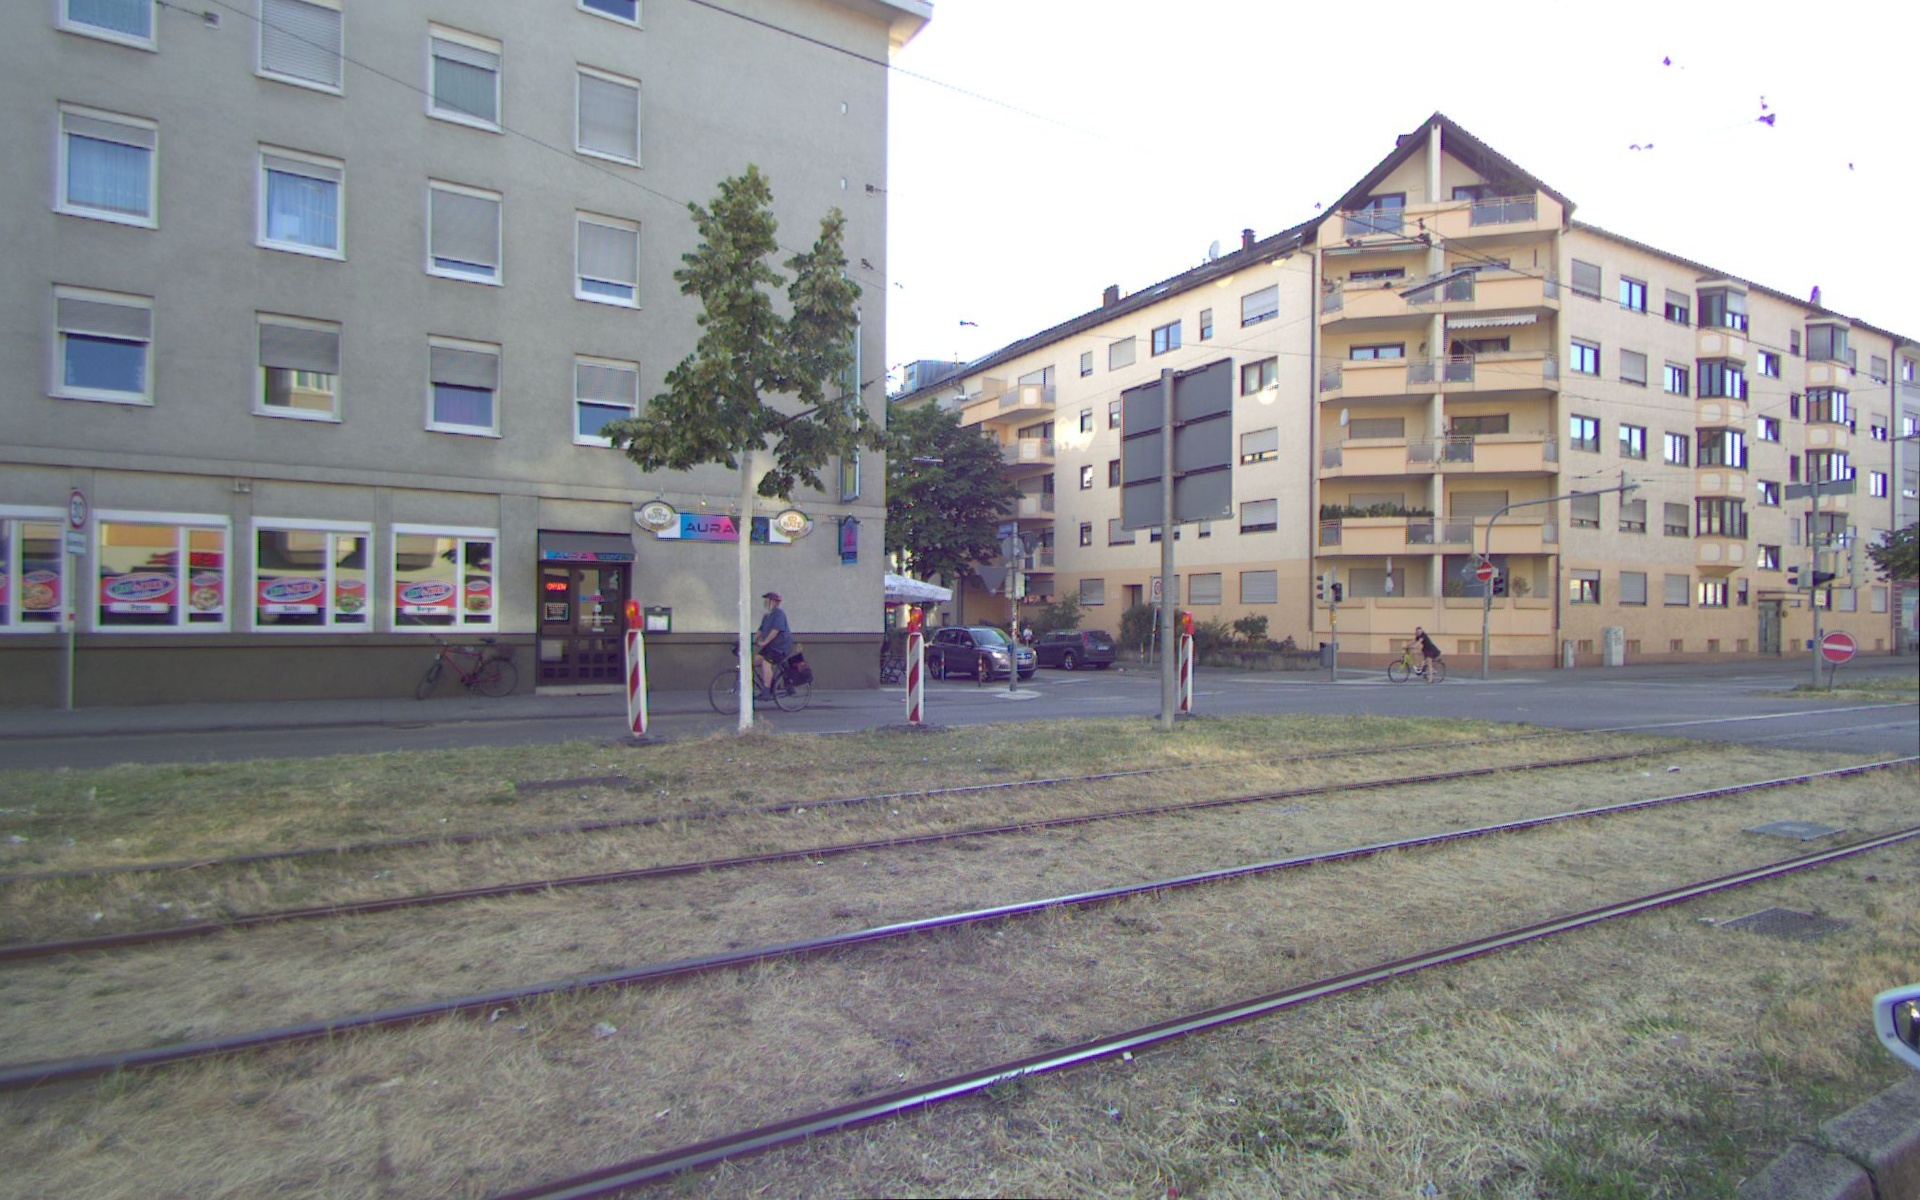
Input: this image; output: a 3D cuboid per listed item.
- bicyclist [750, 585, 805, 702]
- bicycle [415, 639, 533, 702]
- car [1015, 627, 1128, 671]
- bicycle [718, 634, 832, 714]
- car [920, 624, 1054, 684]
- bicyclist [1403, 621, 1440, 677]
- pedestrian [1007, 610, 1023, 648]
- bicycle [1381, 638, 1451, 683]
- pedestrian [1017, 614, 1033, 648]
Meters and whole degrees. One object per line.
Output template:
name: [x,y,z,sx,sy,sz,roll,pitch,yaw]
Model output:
bicyclist: [-3.075,0.723,16.915,0.797,1.907,0.650,1,-1,-21]
bicycle: [-8.569,1.225,17.745,1.823,1.037,0.605,2,0,-31]
car: [4.119,1.785,37.600,1.982,1.462,3.957,-1,0,-38]
bicycle: [-3.104,1.225,16.923,1.843,1.274,0.454,0,0,-22]
car: [0.781,1.631,31.465,1.981,1.645,4.154,-3,1,-37]
bicyclist: [13.463,1.428,29.328,0.793,1.607,0.628,0,0,4]
pedestrian: [2.518,1.322,46.181,0.456,1.727,0.589,2,0,-24]
bicycle: [13.305,1.755,29.344,1.833,1.274,0.457,0,0,3]
pedestrian: [3.022,1.434,46.420,0.509,1.573,0.547,2,0,-24]
